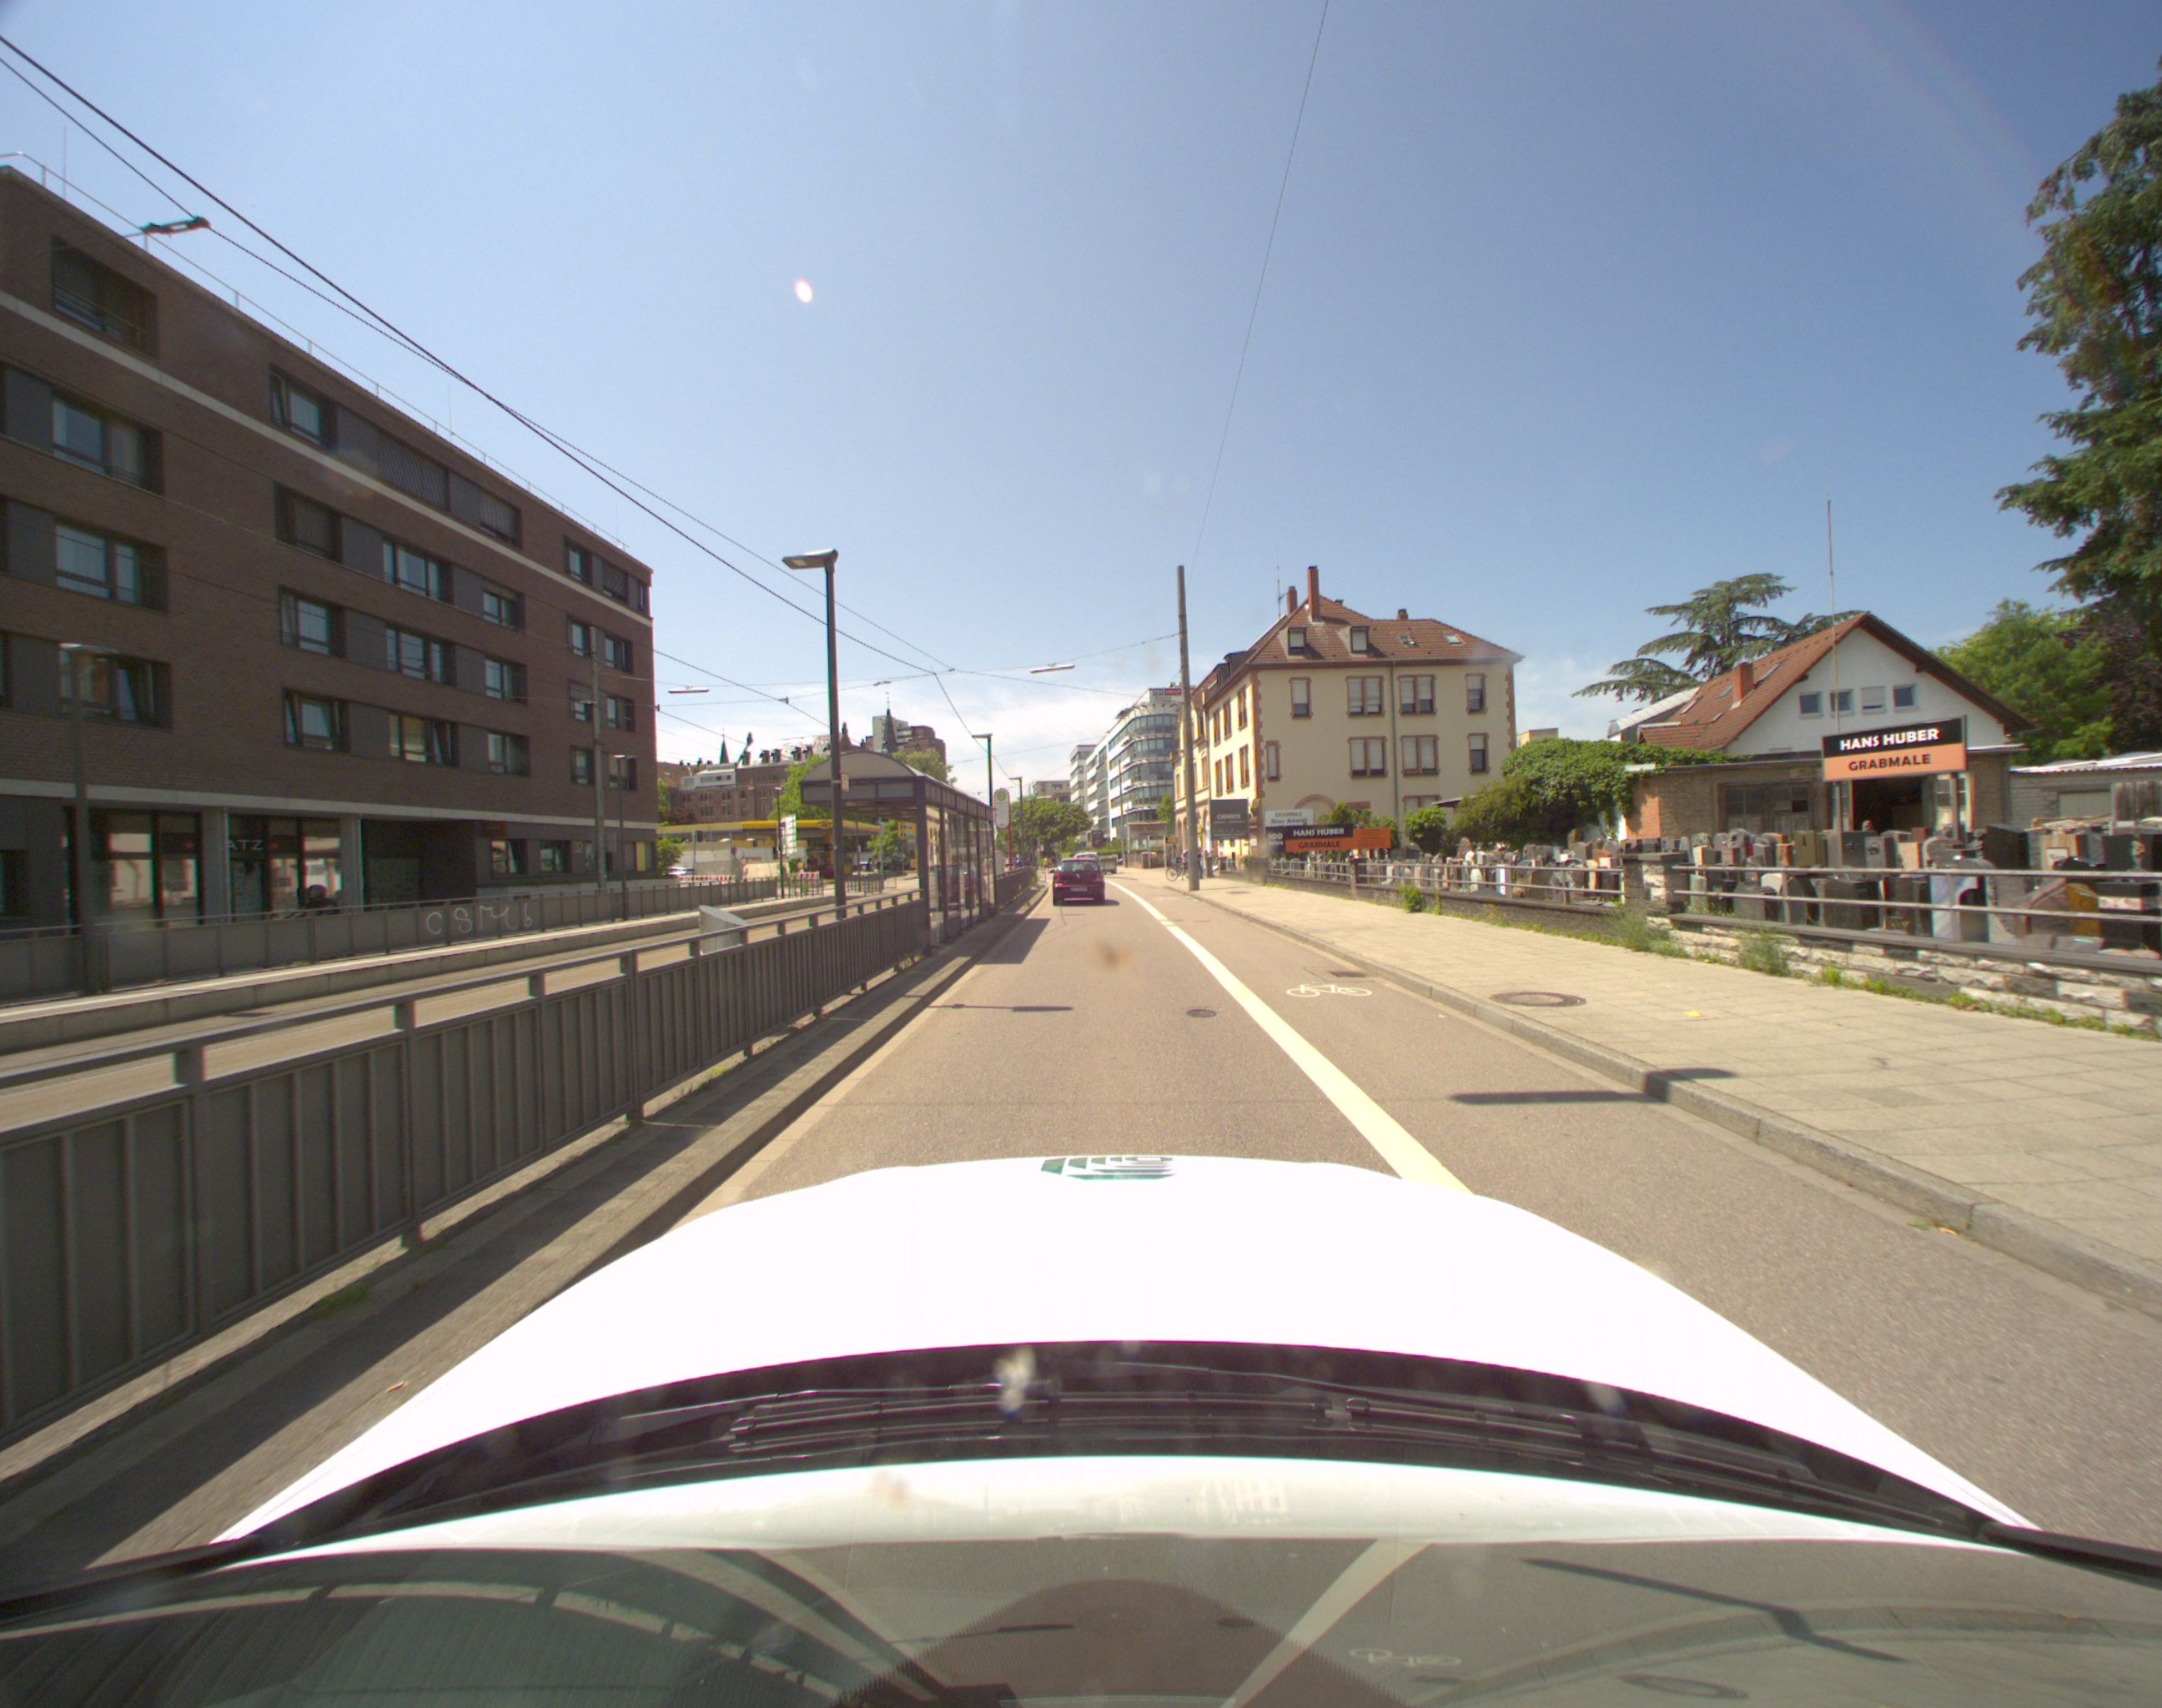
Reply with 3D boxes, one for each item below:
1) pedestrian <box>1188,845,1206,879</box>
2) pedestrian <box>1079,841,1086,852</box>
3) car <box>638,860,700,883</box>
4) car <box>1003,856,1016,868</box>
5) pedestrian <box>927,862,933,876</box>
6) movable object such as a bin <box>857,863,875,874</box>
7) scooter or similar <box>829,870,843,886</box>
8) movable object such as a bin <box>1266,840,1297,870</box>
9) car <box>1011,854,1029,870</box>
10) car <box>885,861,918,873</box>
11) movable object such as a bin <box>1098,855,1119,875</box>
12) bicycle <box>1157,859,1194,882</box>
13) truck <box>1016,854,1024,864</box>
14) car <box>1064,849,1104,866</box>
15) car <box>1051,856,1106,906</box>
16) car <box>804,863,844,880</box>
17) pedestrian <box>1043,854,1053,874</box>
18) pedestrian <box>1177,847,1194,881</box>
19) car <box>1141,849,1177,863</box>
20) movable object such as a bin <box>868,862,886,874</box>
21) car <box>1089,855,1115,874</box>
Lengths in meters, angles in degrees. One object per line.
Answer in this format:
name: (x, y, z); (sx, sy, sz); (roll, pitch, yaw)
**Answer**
pedestrian: (5.923, 0.415, 41.430); (0.819, 1.691, 0.590); (-2, 0, 9)
pedestrian: (0.246, -1.250, 138.272); (0.870, 1.715, 1.090); (-4, -1, 3)
car: (-32.986, 1.396, 65.241); (4.230, 1.746, 1.900); (-1, 0, 17)
car: (-11.867, 1.312, 135.308); (1.991, 1.739, 3.992); (-3, 0, -6)
pedestrian: (-18.940, 1.845, 102.184); (0.623, 1.691, 0.721); (-2, 0, -3)
movable object such as a bin: (-30.376, 2.040, 115.301); (1.509, 1.432, 2.109); (-1, 0, 18)
scooter or similar: (-19.817, 1.921, 65.884); (0.342, 1.264, 1.248); (-1, 0, 19)
movable object such as a bin: (10.683, 0.066, 43.483); (1.325, 1.499, 1.046); (-4, 0, -1)
car: (-7.841, 1.001, 104.364); (1.992, 2.013, 3.990); (-1, 0, -7)
car: (-25.561, 1.845, 116.215); (1.910, 1.488, 4.479); (-1, 0, 33)
movable object such as a bin: (2.150, 0.850, 63.849); (1.392, 1.455, 1.135); (-4, 0, -10)
bicycle: (4.939, 0.859, 42.649); (1.784, 1.127, 0.594); (-3, -1, 30)
truck: (-16.576, 1.309, 220.267); (1.991, 2.662, 4.864); (-1, 0, -6)
car: (0.346, 0.426, 97.181); (4.538, 1.799, 1.993); (-2, 0, -10)
car: (-0.005, 0.811, 26.329); (1.613, 1.486, 4.002); (-1, 0, 2)
car: (-26.421, 1.806, 83.728); (1.811, 1.504, 4.218); (0, 1, 17)
pedestrian: (-3.322, 0.961, 81.011); (0.783, 1.960, 0.586); (-2, 0, -22)
pedestrian: (5.480, 0.511, 42.824); (0.681, 1.772, 0.506); (-2, 0, 28)
car: (9.528, 0.253, 99.566); (4.139, 1.459, 1.816); (-3, 0, -3)
movable object such as a bin: (-28.748, 1.960, 114.669); (1.509, 1.509, 2.109); (-1, 0, 18)
car: (1.879, 0.955, 75.244); (1.770, 1.548, 4.458); (-4, 0, -6)
